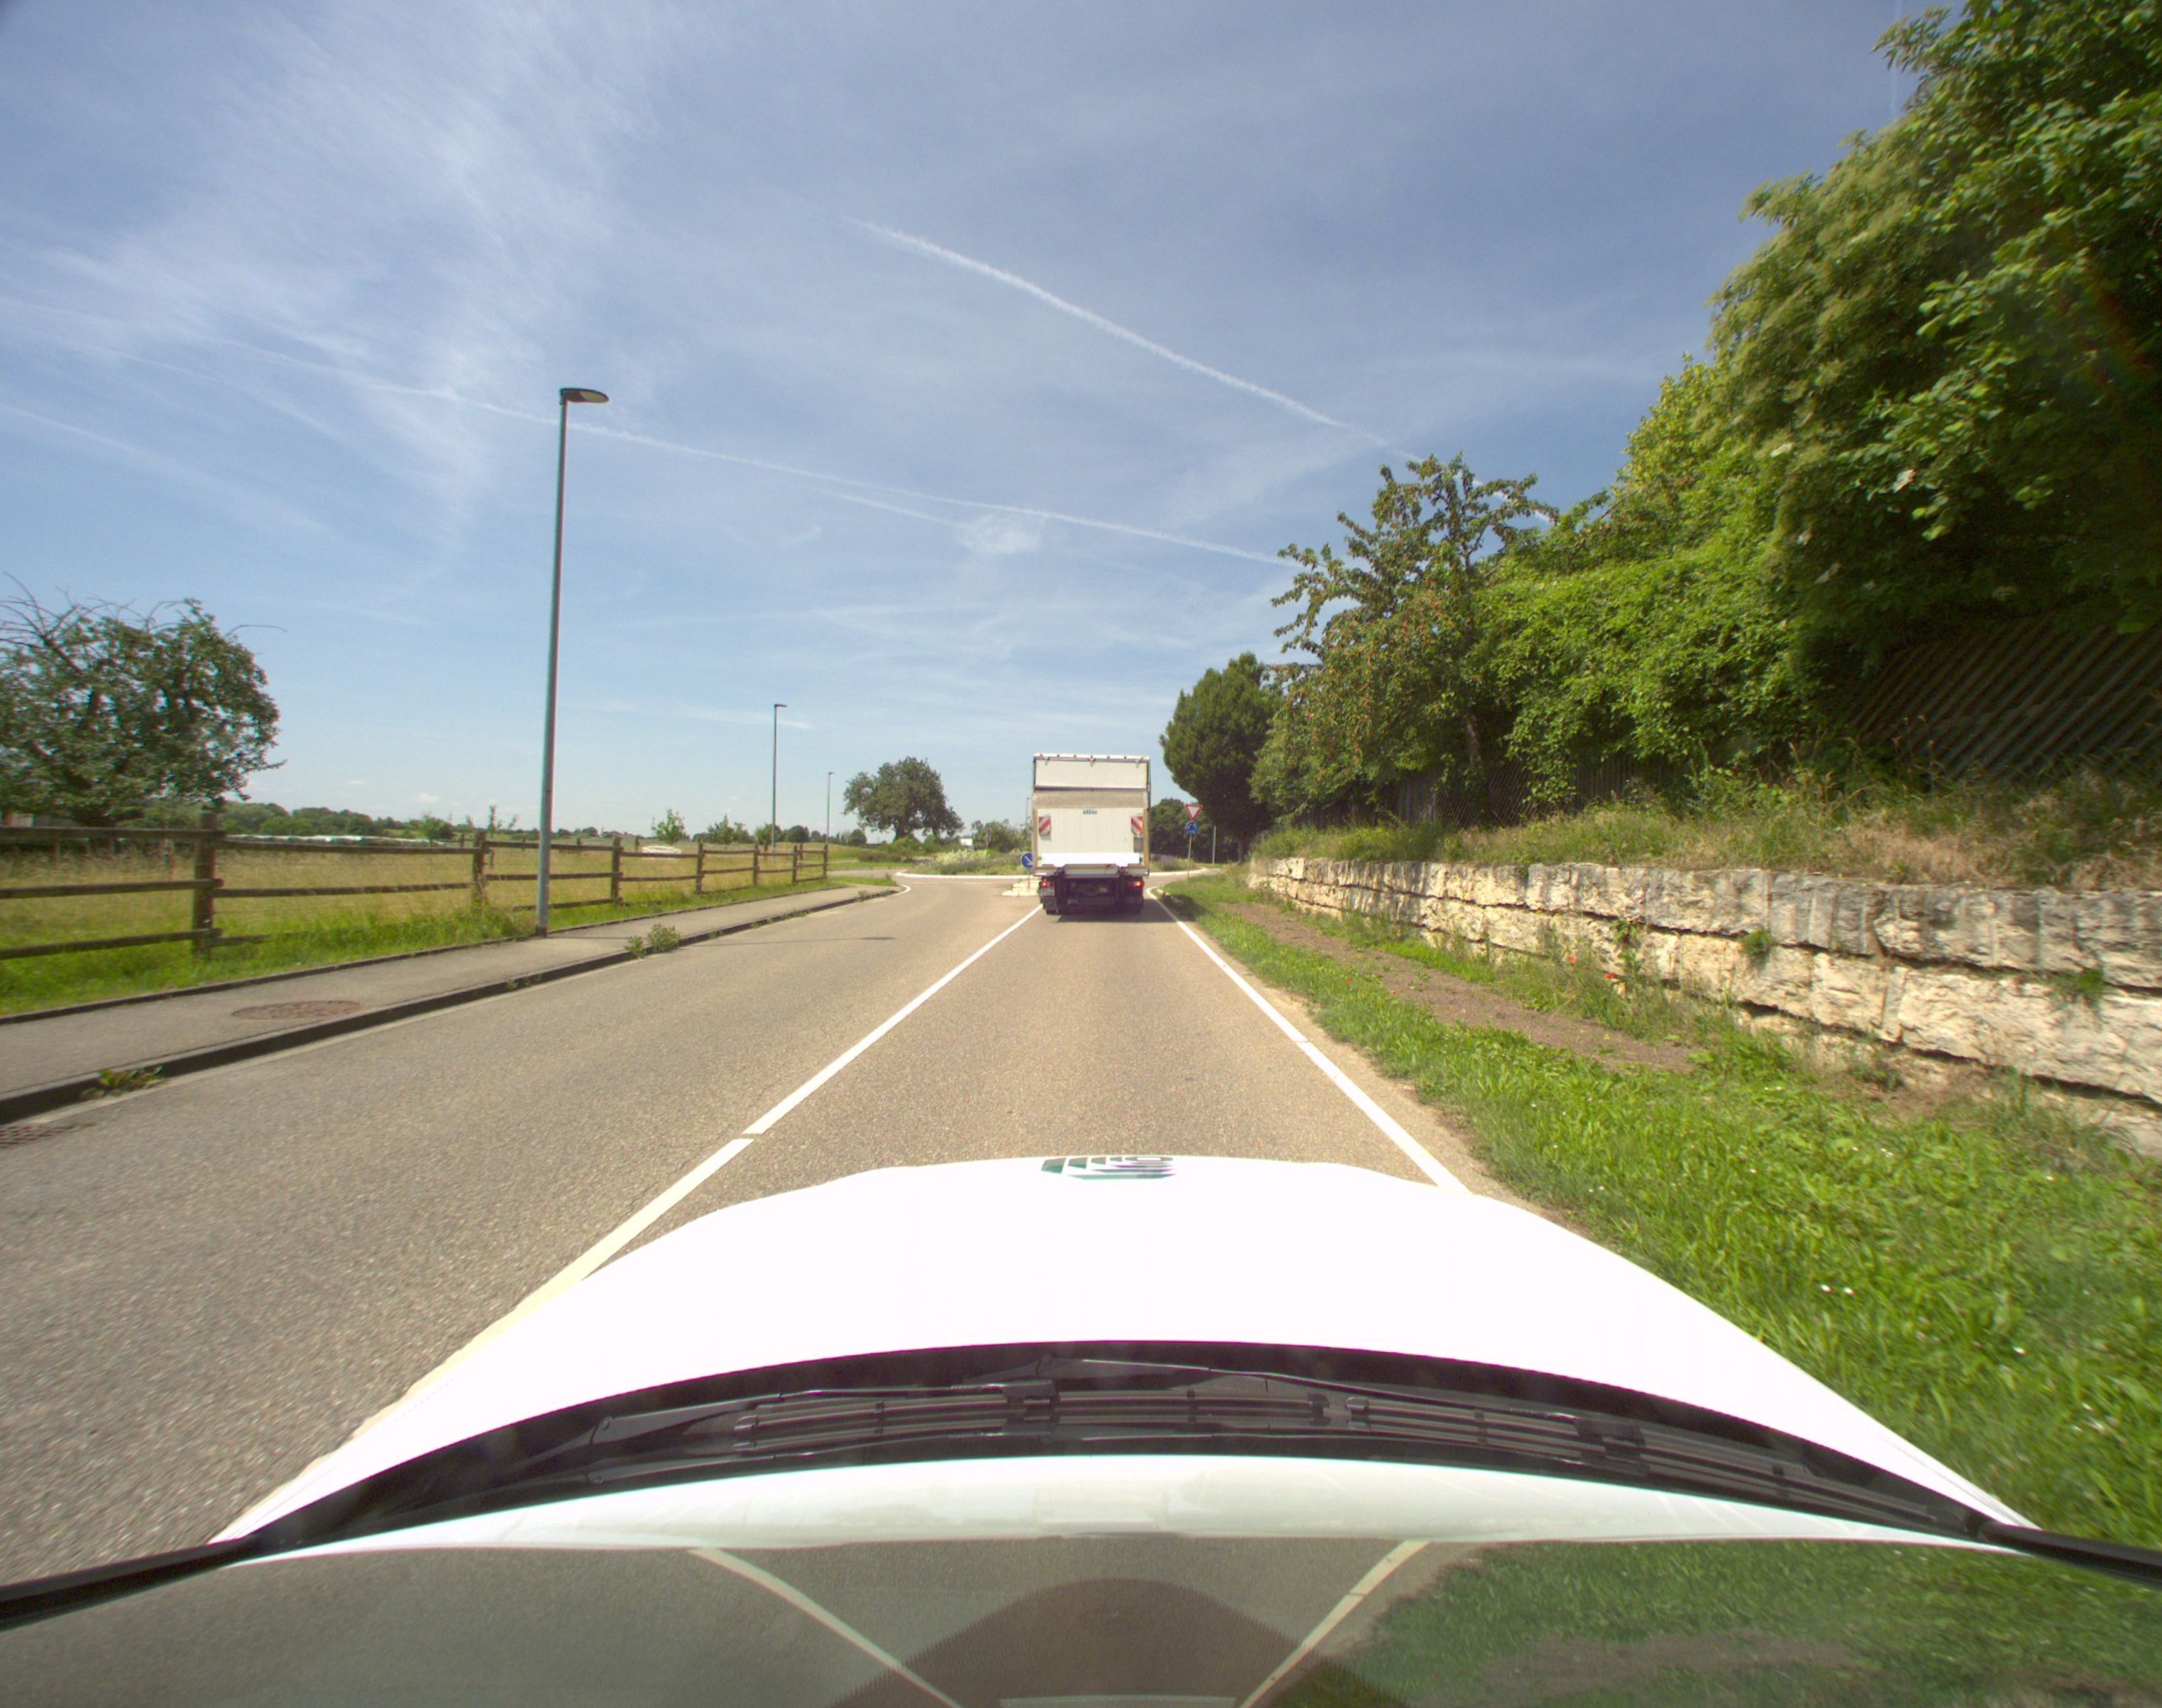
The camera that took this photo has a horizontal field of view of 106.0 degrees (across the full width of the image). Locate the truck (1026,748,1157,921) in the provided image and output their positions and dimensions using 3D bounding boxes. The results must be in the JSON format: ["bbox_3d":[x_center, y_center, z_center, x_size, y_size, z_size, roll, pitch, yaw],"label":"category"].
[{"bbox_3d":[0.272,-0.407,21.964,2.757,3.671,9.382,0,0,1],"label":"truck"}]
